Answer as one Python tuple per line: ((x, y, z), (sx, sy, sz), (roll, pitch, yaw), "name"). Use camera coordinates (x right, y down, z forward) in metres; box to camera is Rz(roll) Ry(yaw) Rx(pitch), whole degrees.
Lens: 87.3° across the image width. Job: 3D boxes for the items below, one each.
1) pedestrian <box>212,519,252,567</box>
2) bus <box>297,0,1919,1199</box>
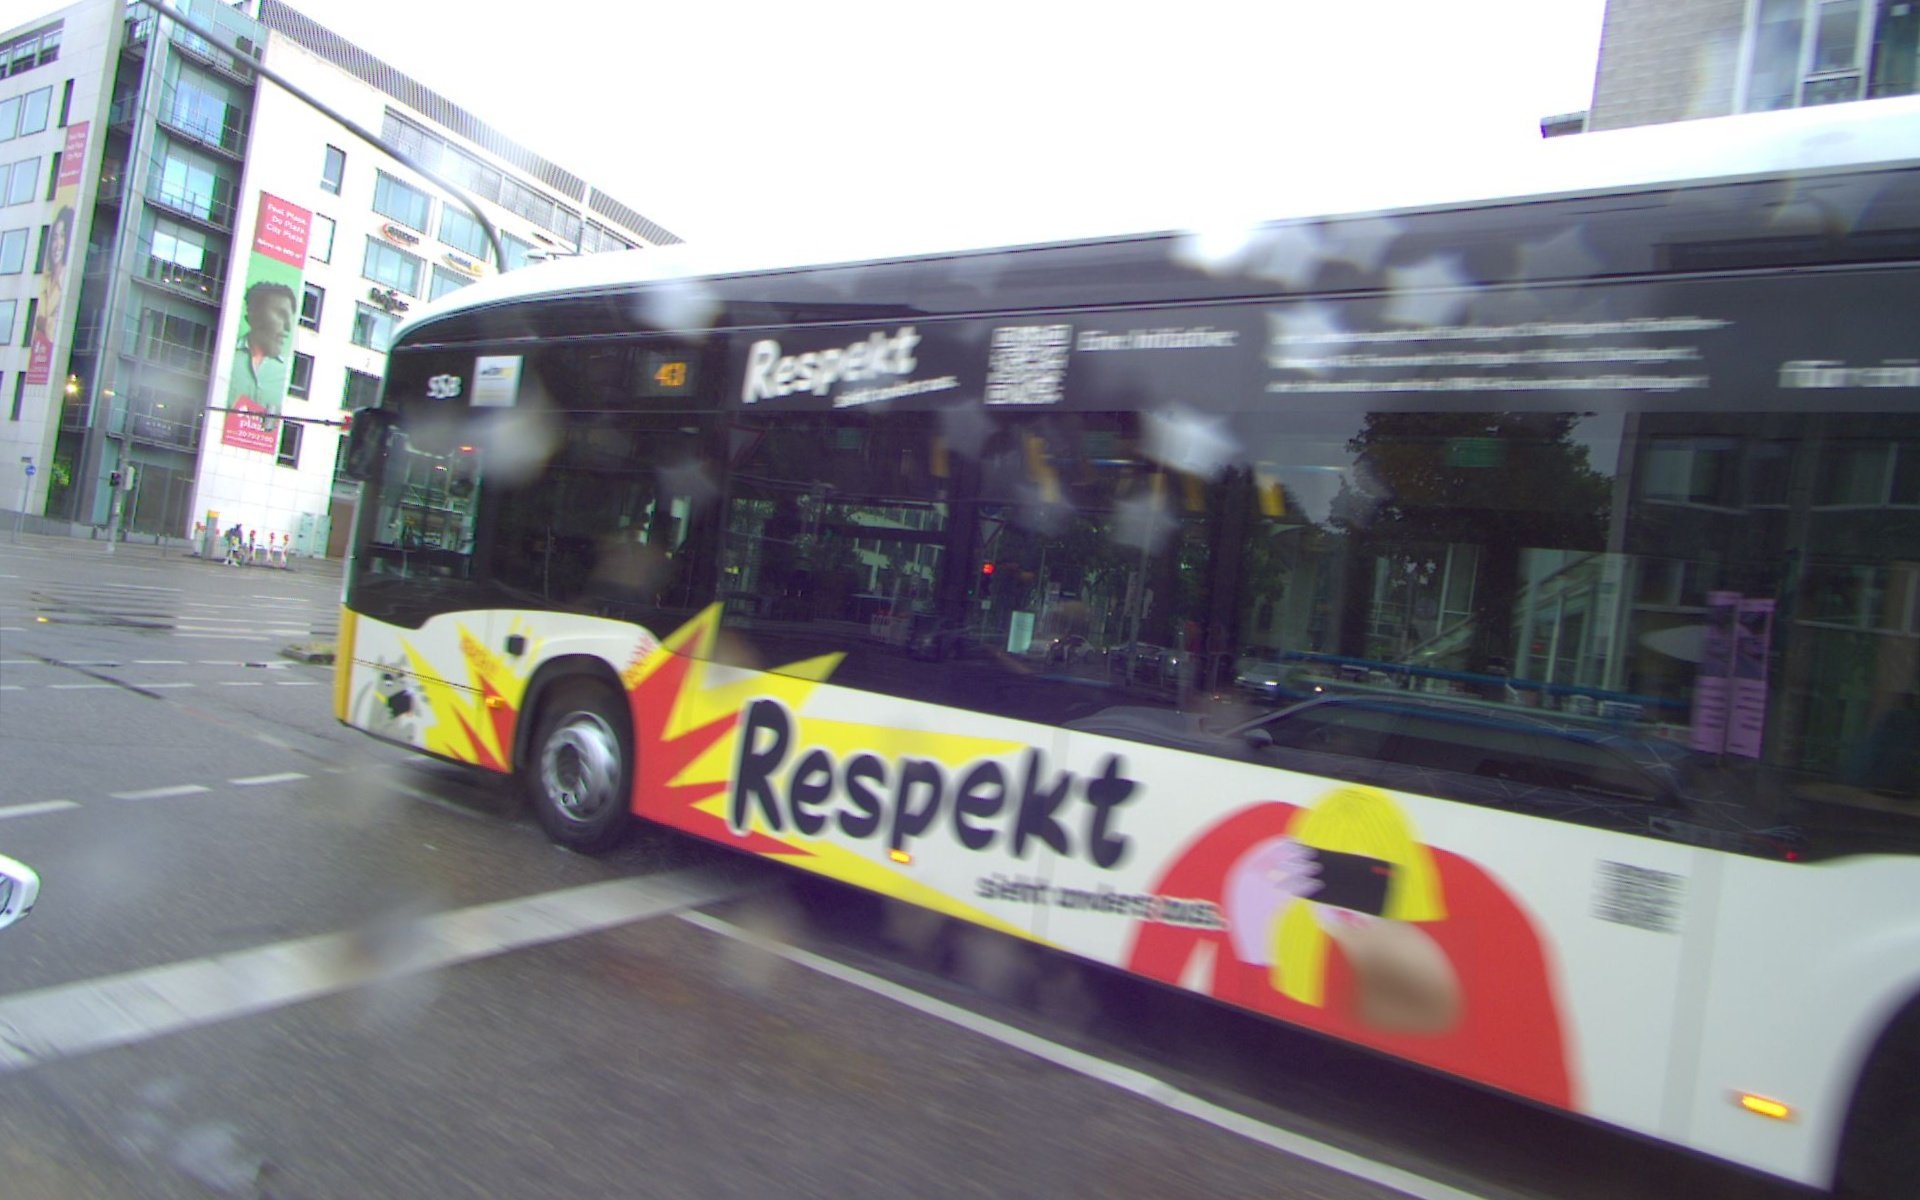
((-30.708, -2.402, 42.448), (0.822, 1.837, 0.963), (6, -2, 31), "pedestrian")
((0.590, -0.009, 5.391), (9.596, 3.490, 2.888), (6, -2, 32), "bus")
